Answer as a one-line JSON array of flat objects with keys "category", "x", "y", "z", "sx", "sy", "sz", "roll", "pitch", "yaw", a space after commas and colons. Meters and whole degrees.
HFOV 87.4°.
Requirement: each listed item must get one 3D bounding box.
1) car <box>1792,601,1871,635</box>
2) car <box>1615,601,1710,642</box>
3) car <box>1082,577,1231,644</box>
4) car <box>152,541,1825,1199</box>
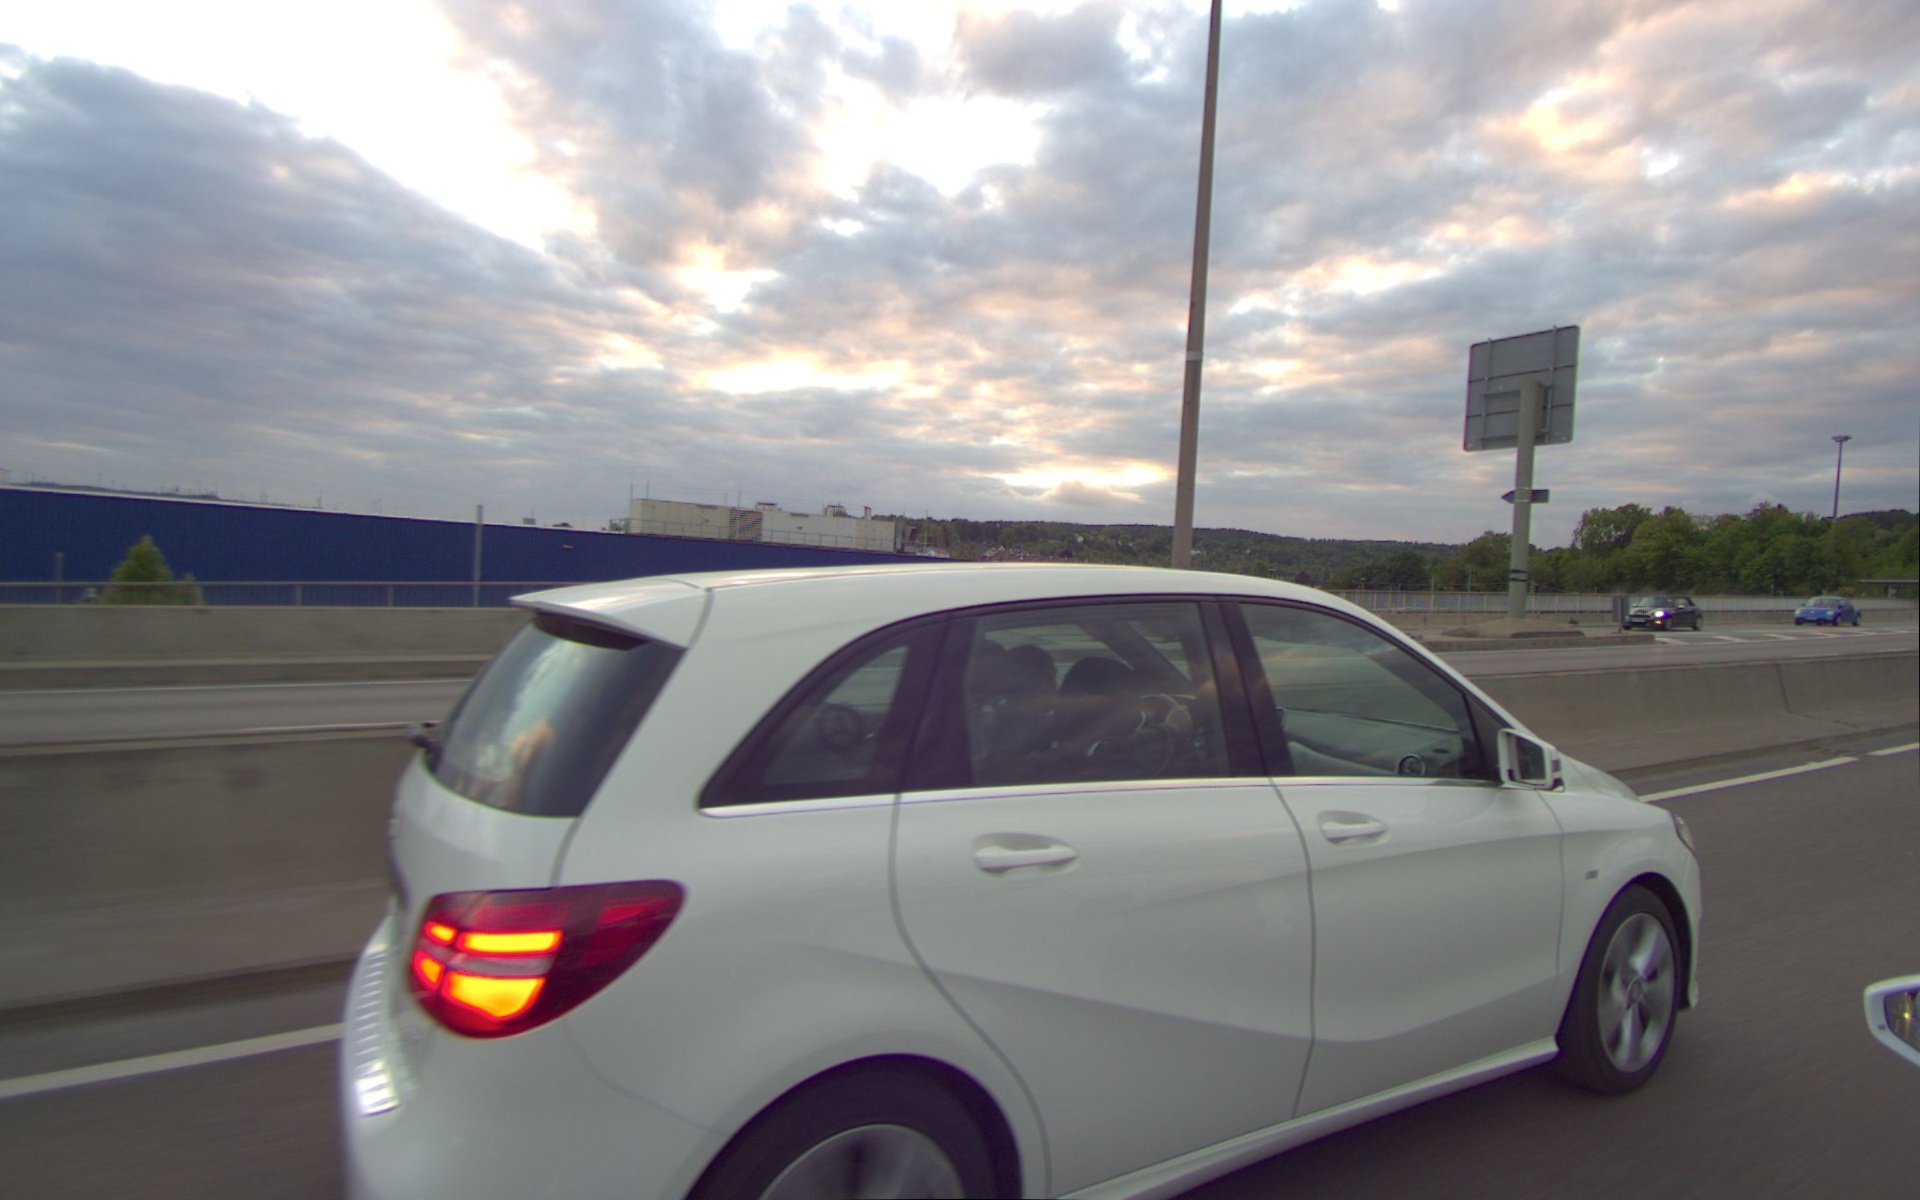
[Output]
[{"category": "car", "x": 44.343, "y": 0.890, "z": 51.076, "sx": 4.116, "sy": 1.617, "sz": 1.887, "roll": 0, "pitch": 2, "yaw": -32}, {"category": "car", "x": 28.659, "y": 0.872, "z": 40.960, "sx": 3.798, "sy": 1.506, "sz": 1.786, "roll": 2, "pitch": 1, "yaw": -32}, {"category": "car", "x": 5.489, "y": 0.313, "z": 27.959, "sx": 3.950, "sy": 1.740, "sz": 1.629, "roll": 1, "pitch": 0, "yaw": -28}, {"category": "car", "x": 0.660, "y": 0.733, "z": 3.120, "sx": 4.729, "sy": 1.557, "sz": 1.682, "roll": 1, "pitch": 1, "yaw": -31}]
